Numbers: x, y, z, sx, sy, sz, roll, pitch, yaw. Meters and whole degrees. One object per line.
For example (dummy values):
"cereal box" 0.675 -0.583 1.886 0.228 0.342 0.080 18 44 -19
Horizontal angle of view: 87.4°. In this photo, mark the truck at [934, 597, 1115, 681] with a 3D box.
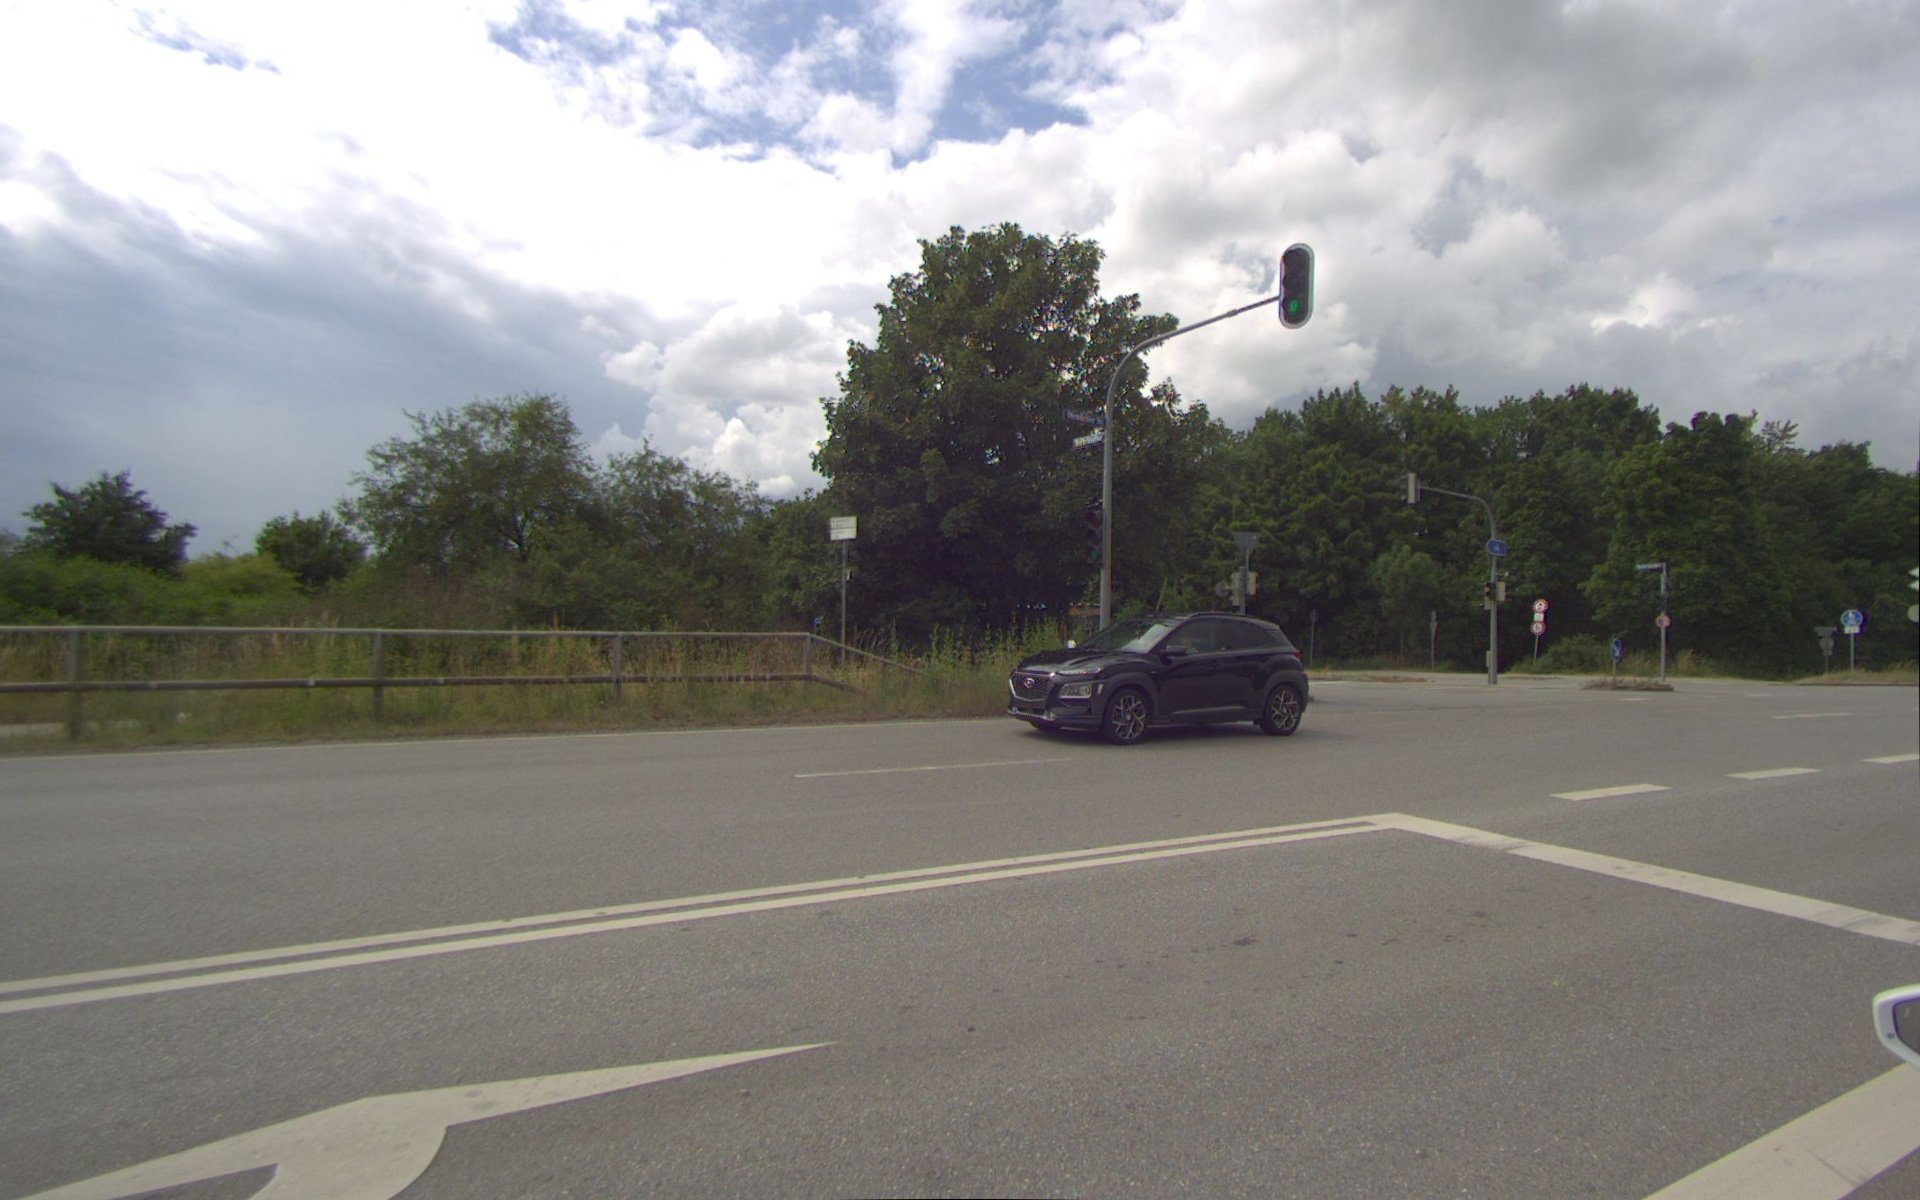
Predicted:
"truck" 2.417 1.516 40.914 2.862 3.077 7.853 1 -1 -39

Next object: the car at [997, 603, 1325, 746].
"car" 2.625 0.889 12.939 3.952 1.594 1.783 2 -1 -30
